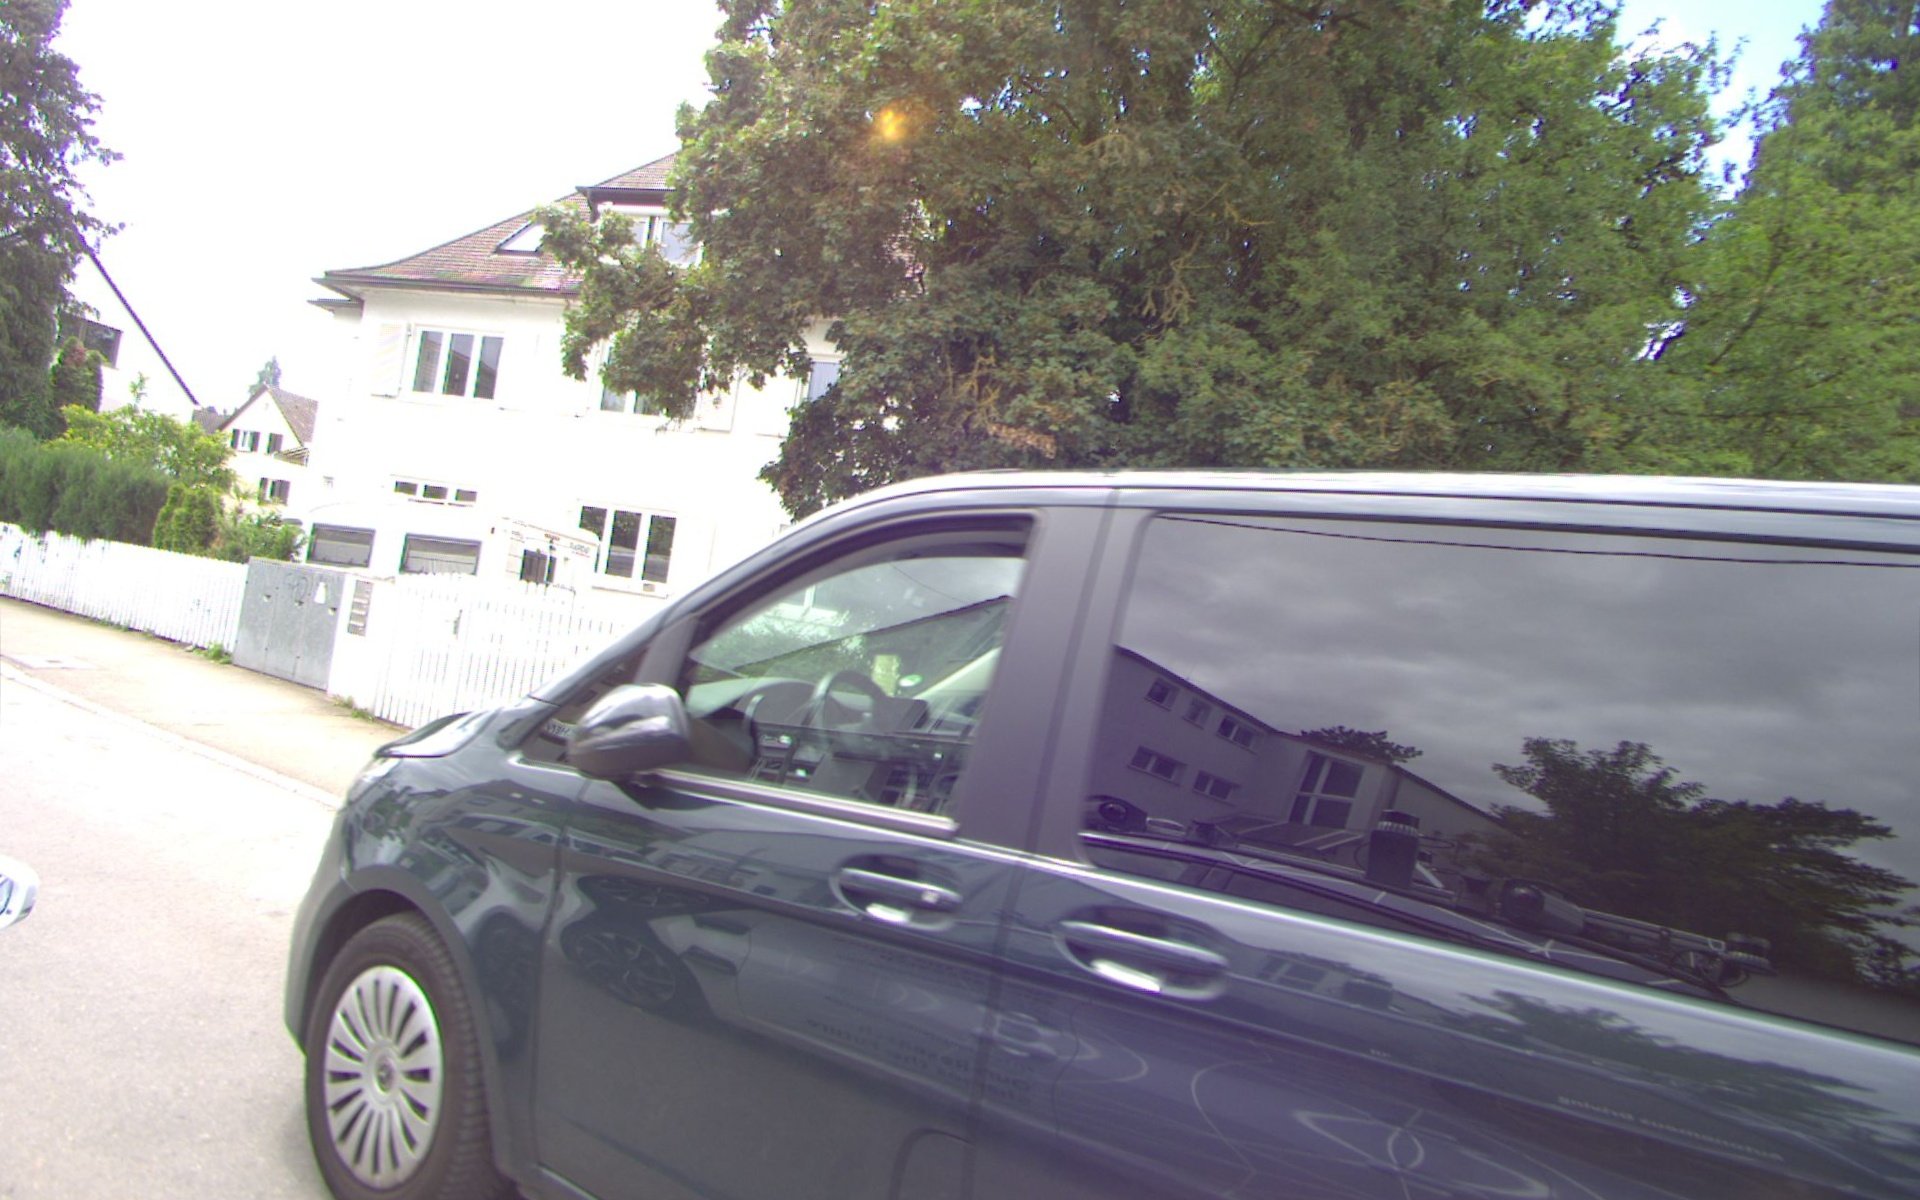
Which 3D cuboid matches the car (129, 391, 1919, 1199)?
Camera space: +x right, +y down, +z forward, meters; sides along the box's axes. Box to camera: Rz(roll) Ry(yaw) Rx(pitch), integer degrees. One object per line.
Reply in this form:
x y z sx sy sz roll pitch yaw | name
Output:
0.510 0.752 2.246 5.072 1.868 1.914 7 -3 31 | car

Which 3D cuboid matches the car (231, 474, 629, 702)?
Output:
-8.411 -0.167 16.113 5.090 2.709 2.511 8 -4 20 | car
